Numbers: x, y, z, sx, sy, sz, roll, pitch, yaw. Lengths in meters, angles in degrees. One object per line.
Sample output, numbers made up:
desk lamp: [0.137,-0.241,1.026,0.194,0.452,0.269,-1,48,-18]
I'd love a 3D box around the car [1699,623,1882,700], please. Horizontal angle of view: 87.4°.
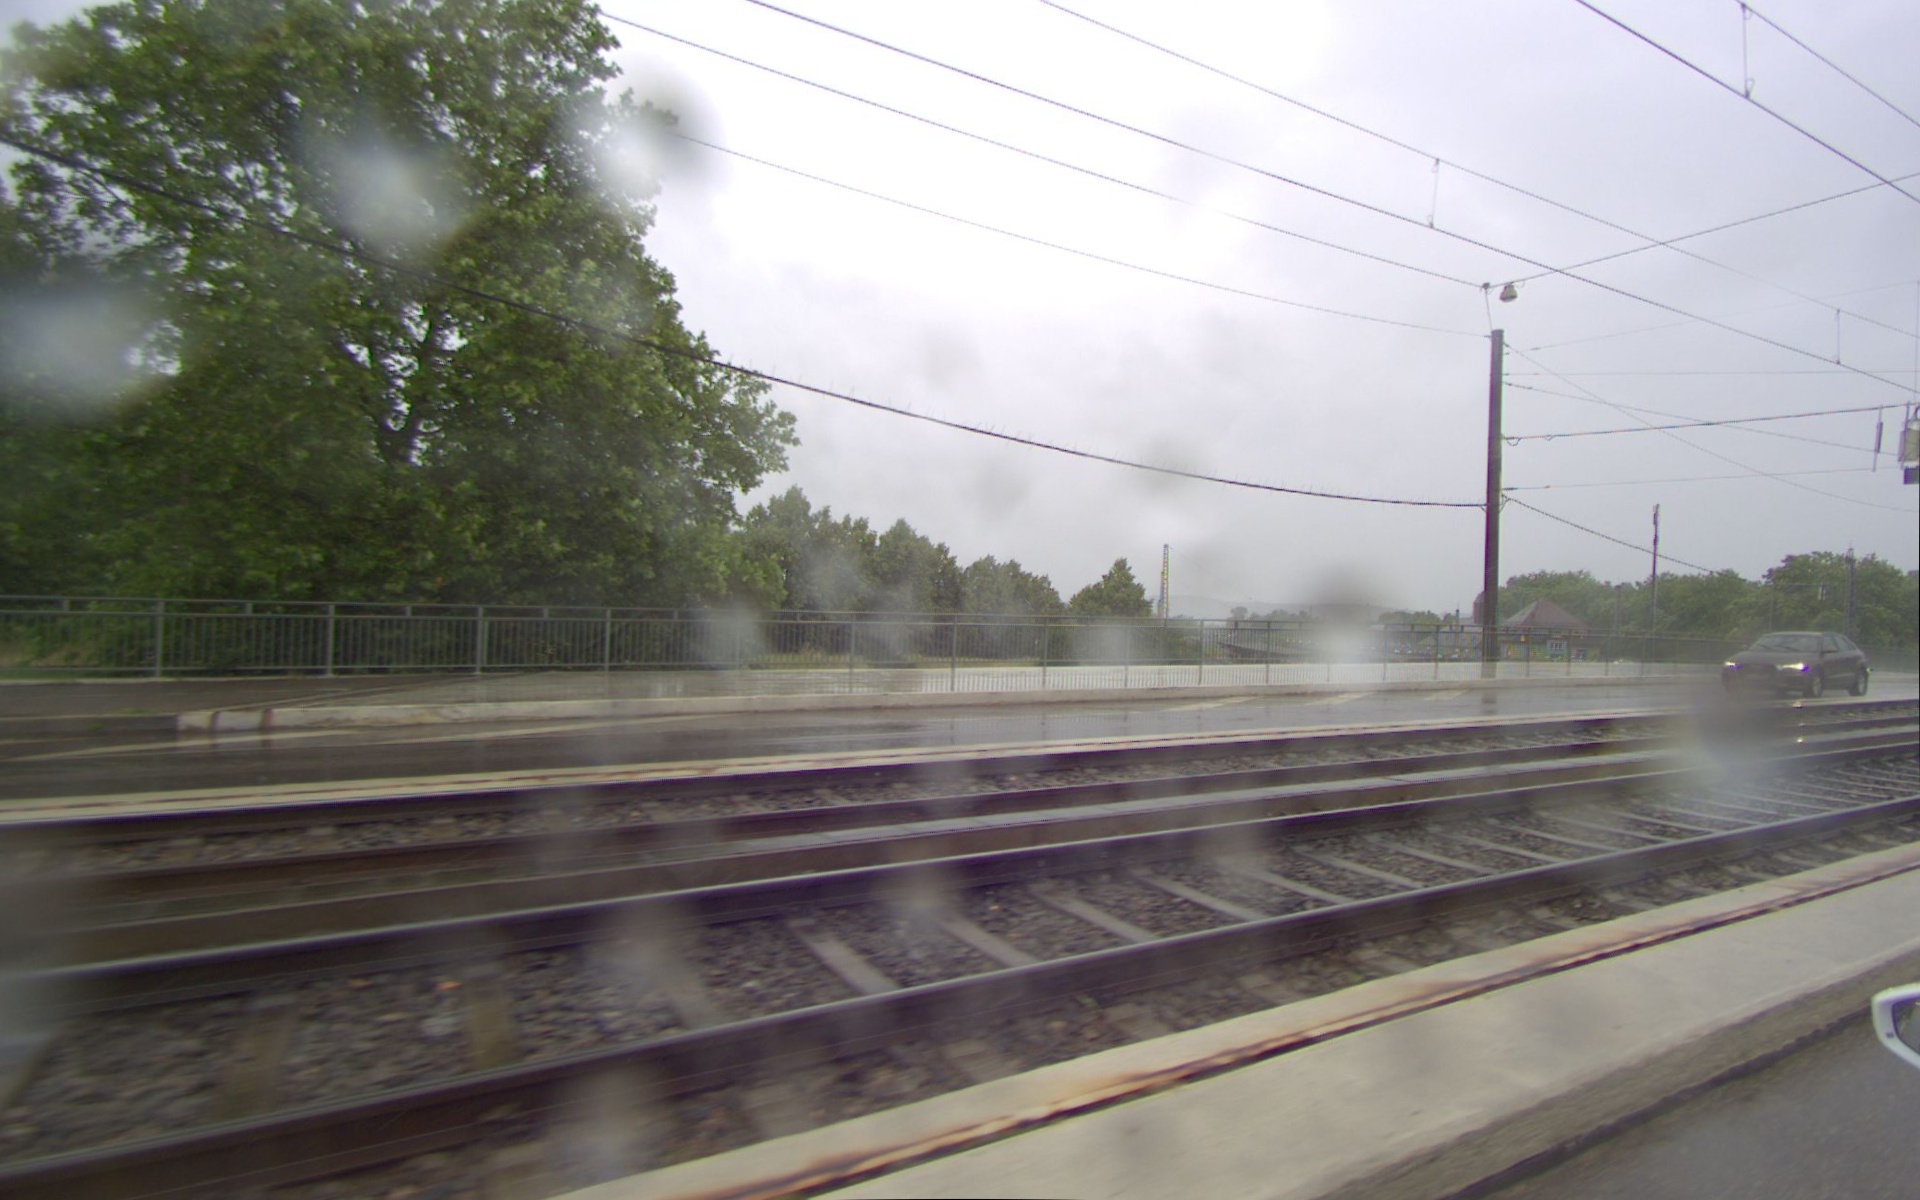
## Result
car: [20.651,1.556,24.938,4.885,1.739,1.984,4,-3,-31]

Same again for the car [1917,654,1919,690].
car: [41.384,3.011,41.182,4.568,1.474,1.984,4,-3,-31]
